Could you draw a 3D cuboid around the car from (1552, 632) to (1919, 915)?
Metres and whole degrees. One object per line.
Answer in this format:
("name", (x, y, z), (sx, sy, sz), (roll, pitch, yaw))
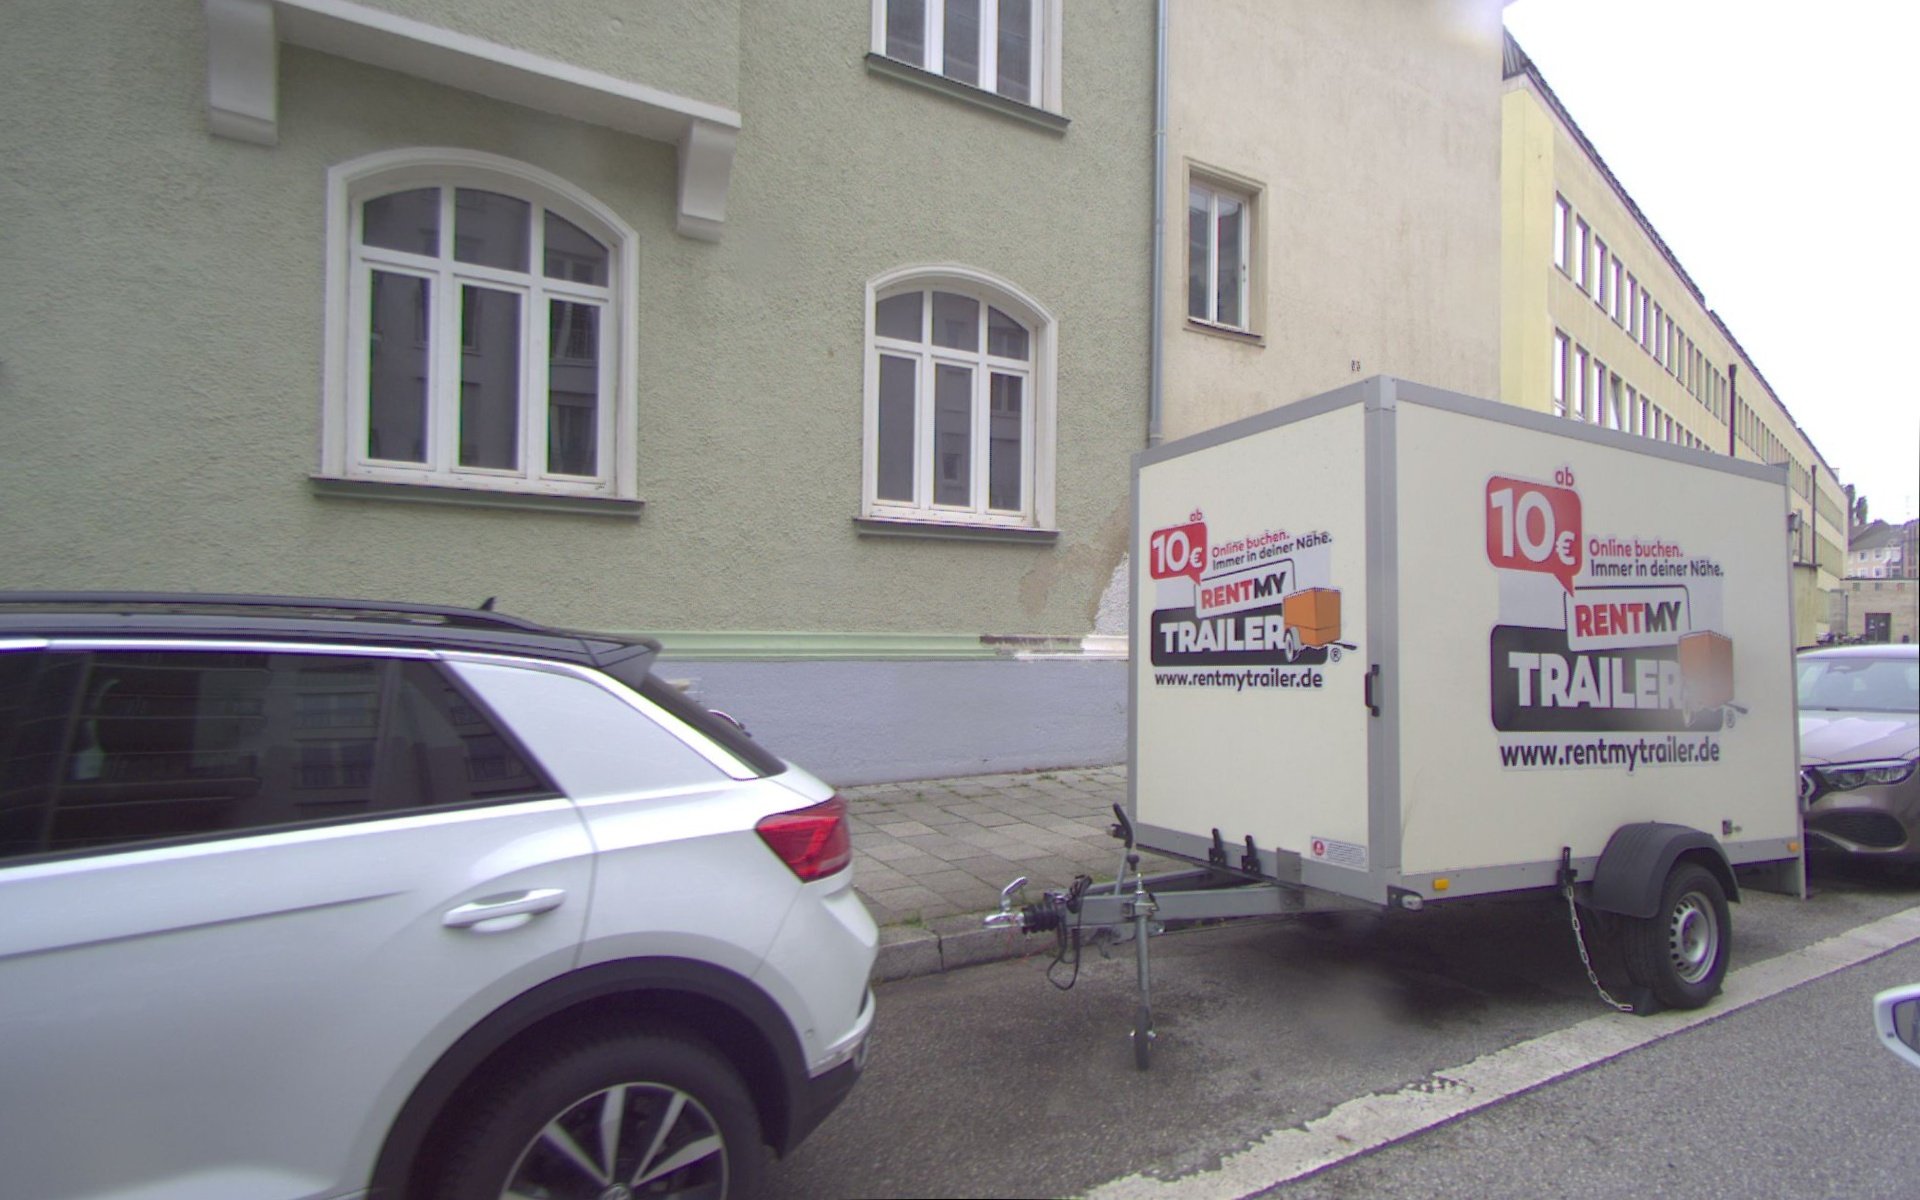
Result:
("car", (6.898, 1.037, 7.595), (5.029, 1.562, 1.856), (1, -3, -29))

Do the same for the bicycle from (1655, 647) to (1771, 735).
("bicycle", (11.406, 1.344, 15.206), (1.847, 1.250, 0.798), (2, -2, -32))

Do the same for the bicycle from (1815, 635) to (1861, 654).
("bicycle", (50.164, 2.543, 57.397), (0.411, 0.957, 1.933), (1, 0, -43))

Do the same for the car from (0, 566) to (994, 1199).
("car", (-2.071, 0.749, 2.162), (4.060, 1.550, 1.671), (1, -2, -31))

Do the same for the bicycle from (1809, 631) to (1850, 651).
("bicycle", (52.203, 2.478, 60.321), (1.825, 1.110, 0.698), (2, 0, 43))

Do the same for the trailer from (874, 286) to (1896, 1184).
("trailer", (2.053, 0.462, 4.741), (4.518, 2.503, 1.969), (1, -4, -27))

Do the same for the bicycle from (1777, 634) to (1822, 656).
("bicycle", (39.277, 2.085, 47.015), (1.585, 0.957, 0.501), (2, 0, 41))

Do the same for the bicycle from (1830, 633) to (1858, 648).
("bicycle", (61.585, 2.803, 69.991), (1.454, 0.957, 0.412), (2, 0, 43))

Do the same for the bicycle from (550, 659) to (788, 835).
("bicycle", (-2.016, 0.977, 7.036), (1.506, 1.099, 0.458), (2, 0, -32))

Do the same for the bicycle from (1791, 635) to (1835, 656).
("bicycle", (42.622, 2.248, 50.200), (1.583, 0.957, 0.501), (2, 0, 36))

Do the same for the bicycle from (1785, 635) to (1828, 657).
("bicycle", (40.910, 2.231, 48.567), (1.585, 0.957, 0.501), (2, 0, 41))

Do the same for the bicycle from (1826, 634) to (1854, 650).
("bicycle", (57.735, 2.734, 65.905), (1.391, 0.957, 0.412), (2, 0, 43))
